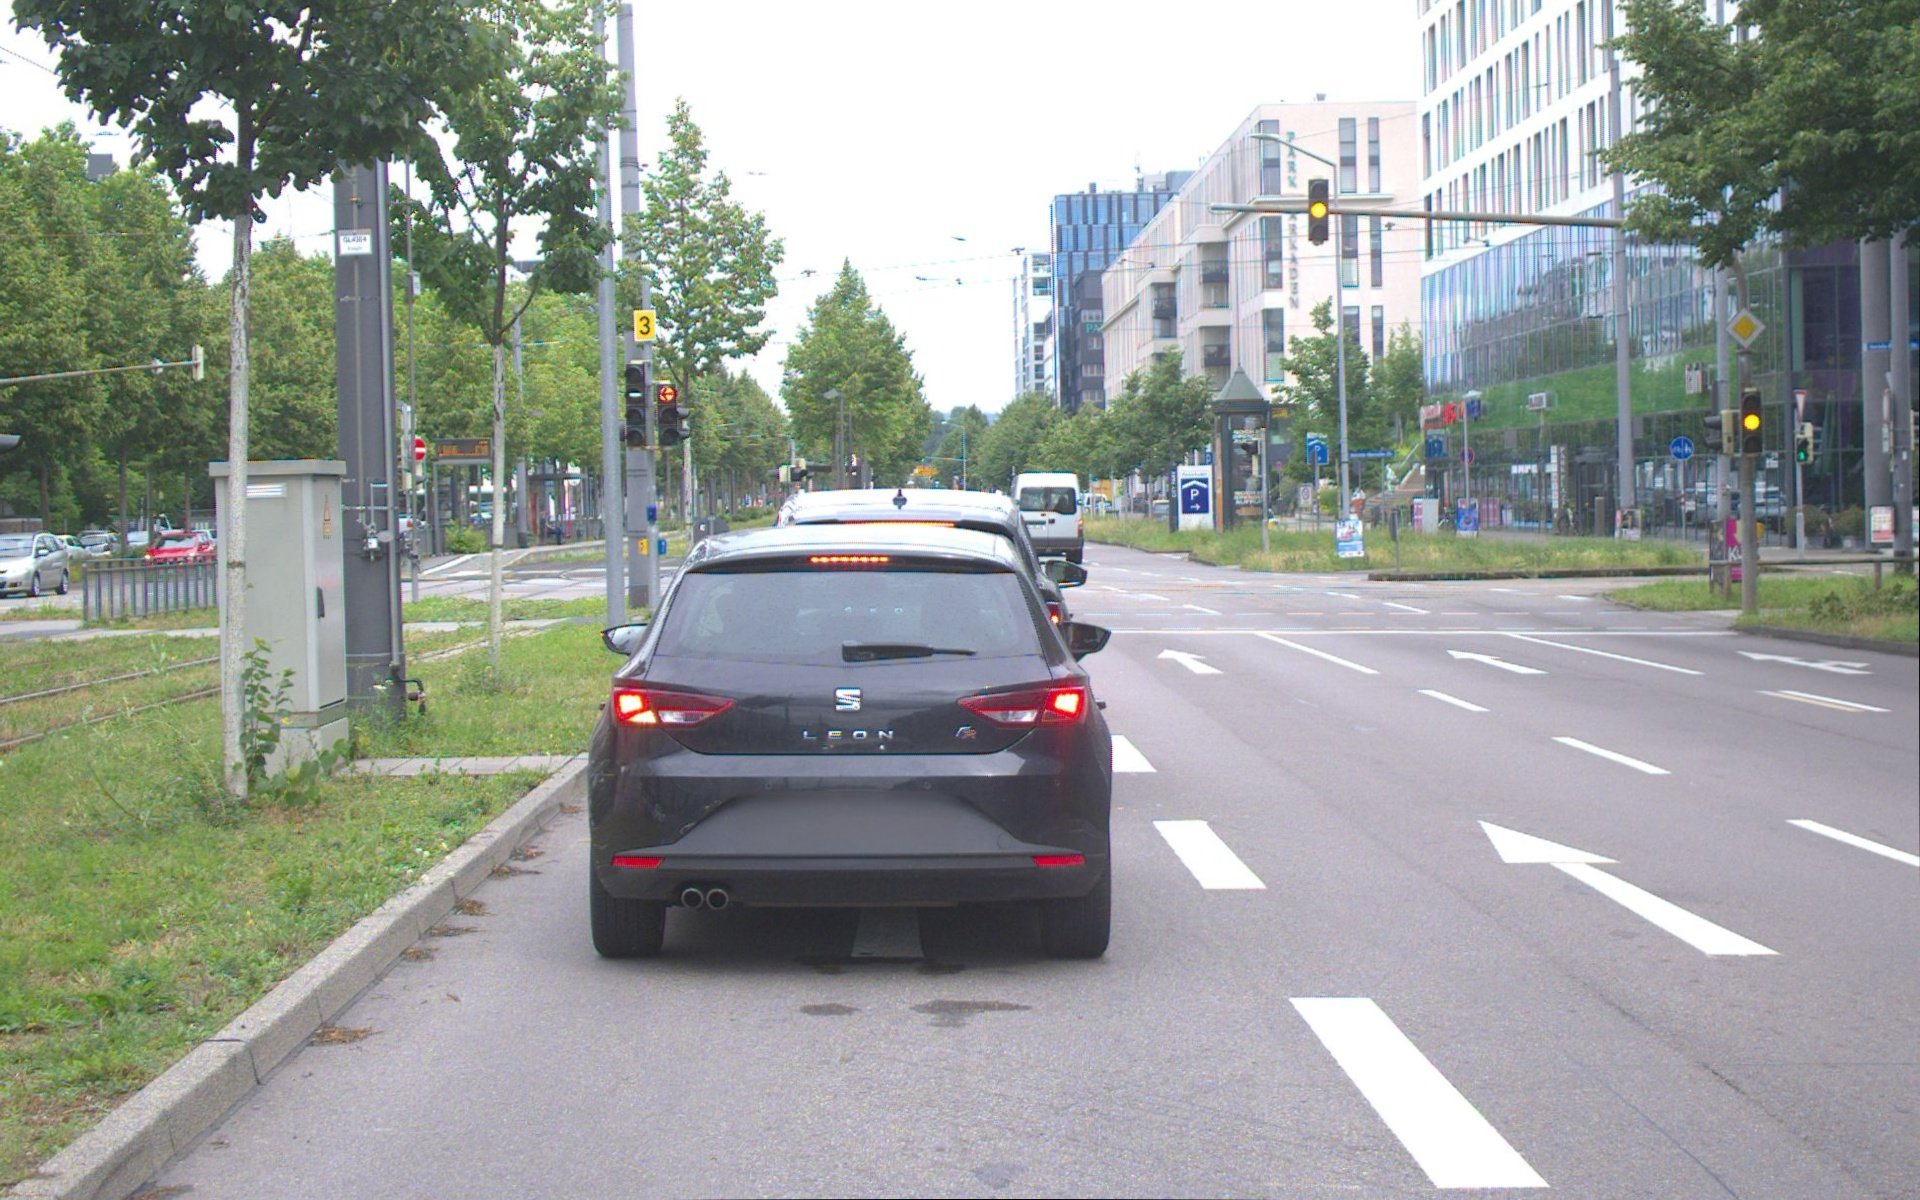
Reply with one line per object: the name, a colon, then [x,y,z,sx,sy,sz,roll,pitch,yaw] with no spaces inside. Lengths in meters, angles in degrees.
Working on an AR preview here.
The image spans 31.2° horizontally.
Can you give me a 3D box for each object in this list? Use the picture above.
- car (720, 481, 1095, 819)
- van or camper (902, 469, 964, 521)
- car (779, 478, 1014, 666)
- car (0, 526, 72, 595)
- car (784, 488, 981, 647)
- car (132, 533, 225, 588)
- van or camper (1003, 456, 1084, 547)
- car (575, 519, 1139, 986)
car: [-0.276,0.185,18.787,1.802,1.619,4.000,-1,2,-1]
van or camper: [-0.861,-3.489,113.540,1.993,1.609,4.789,-1,3,0]
car: [-0.541,-0.315,32.833,1.994,1.676,4.000,0,2,2]
car: [-23.553,-1.003,85.813,1.721,1.637,4.676,-1,2,-3]
car: [-0.810,-0.411,38.327,1.993,1.676,4.000,0,2,2]
car: [-24.068,-1.223,105.978,1.796,1.565,4.328,-1,2,1]
van or camper: [2.283,-2.762,95.203,2.109,2.348,4.924,-1,4,0]
car: [-0.367,0.429,12.661,1.743,1.412,4.001,0,2,-1]
